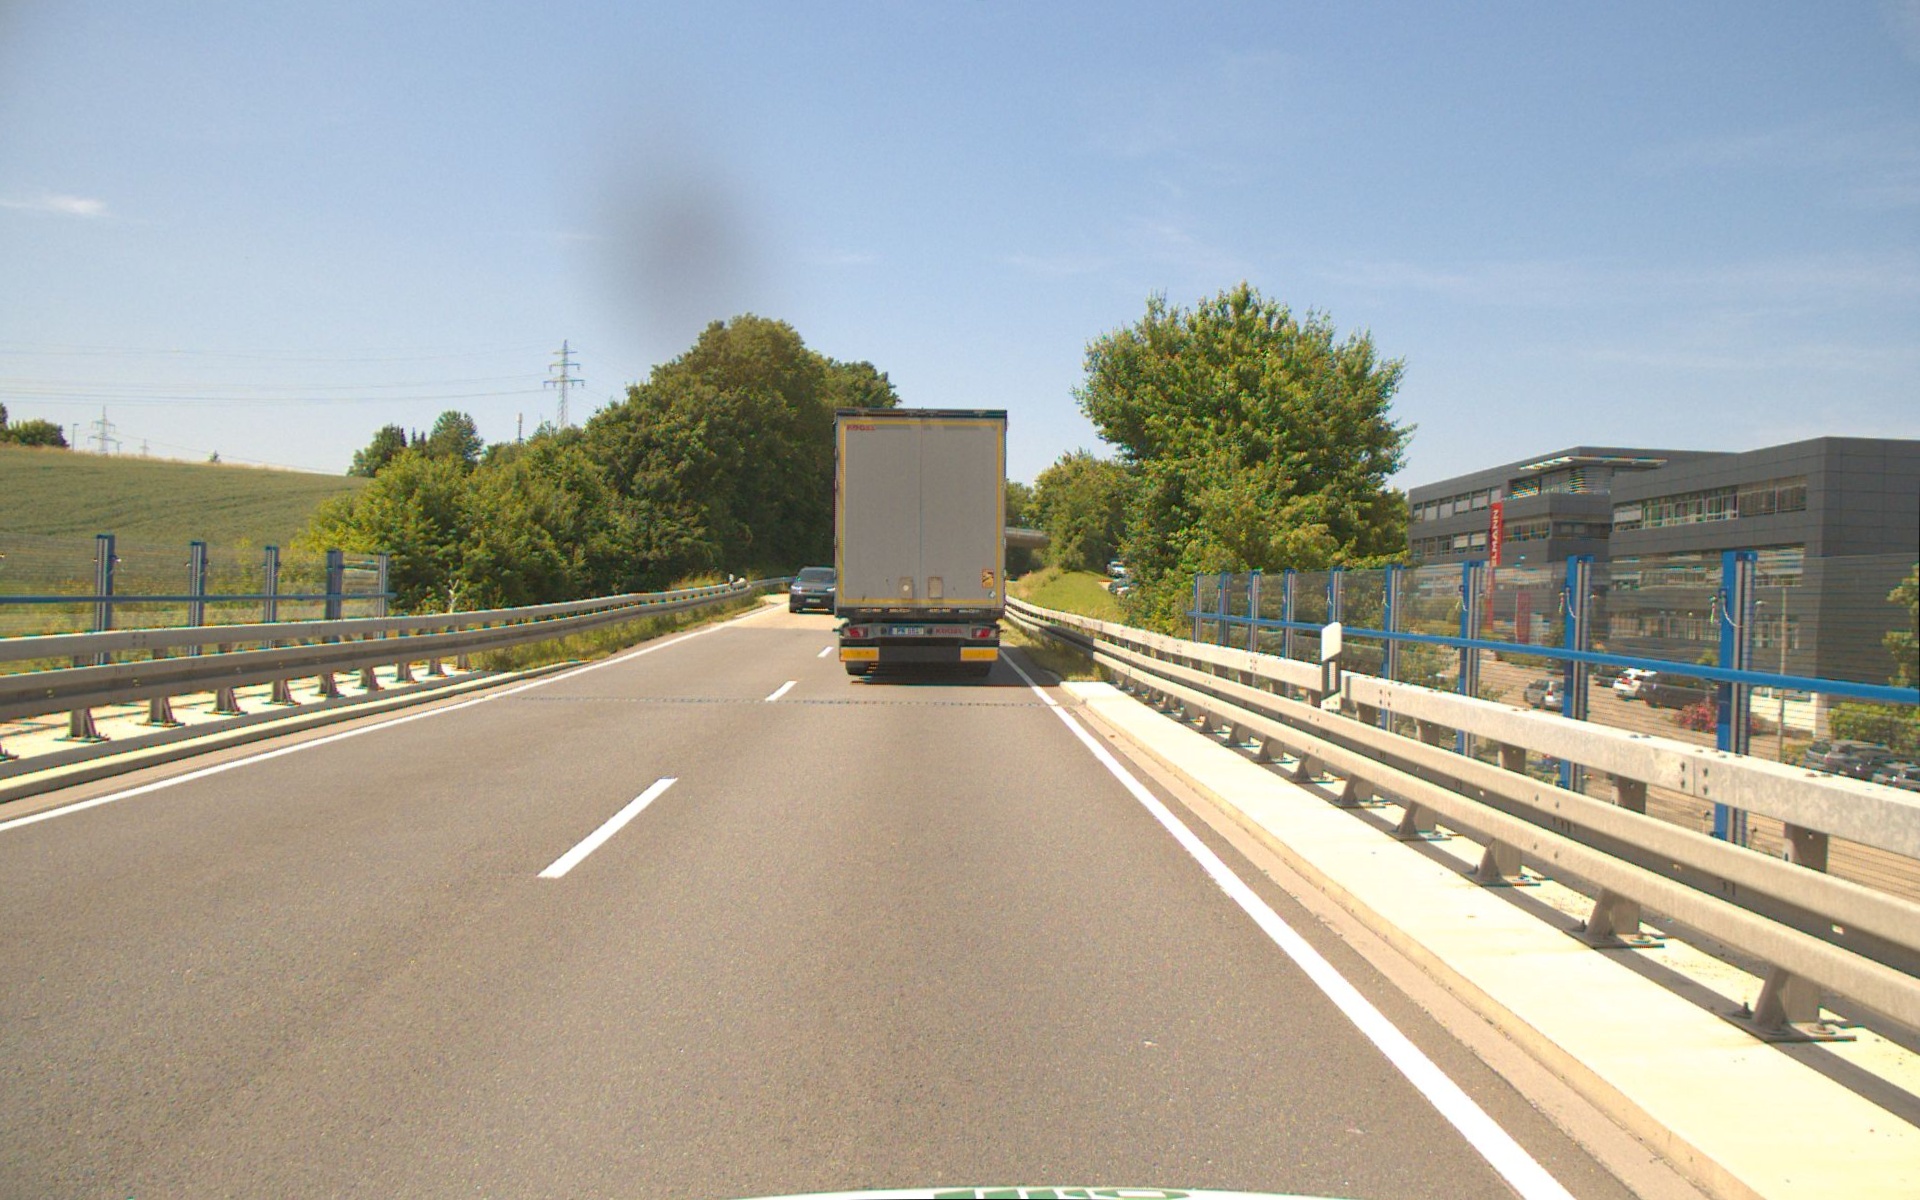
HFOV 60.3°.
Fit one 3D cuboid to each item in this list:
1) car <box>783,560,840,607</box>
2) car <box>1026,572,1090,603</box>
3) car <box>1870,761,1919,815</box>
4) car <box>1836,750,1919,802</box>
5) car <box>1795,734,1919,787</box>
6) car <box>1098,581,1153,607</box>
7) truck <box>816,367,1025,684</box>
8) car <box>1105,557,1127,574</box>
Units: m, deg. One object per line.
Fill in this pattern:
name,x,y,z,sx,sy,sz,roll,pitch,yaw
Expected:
car,-5.437,-0.621,60.936,1.828,1.639,4.371,1,1,-3
car,7.201,-0.910,120.980,4.329,1.713,1.866,5,5,-37
car,35.712,6.830,59.863,4.479,1.599,1.821,1,4,-2
car,35.717,6.624,62.268,4.479,1.599,1.821,1,4,-2
car,35.663,6.334,65.206,4.480,1.598,1.821,3,4,-2
car,13.955,-0.498,139.622,4.329,1.713,1.866,5,5,-37
truck,-0.682,-1.228,28.818,2.808,4.434,9.788,3,2,-1
car,15.770,-3.520,167.368,1.593,1.375,3.711,7,4,-3
